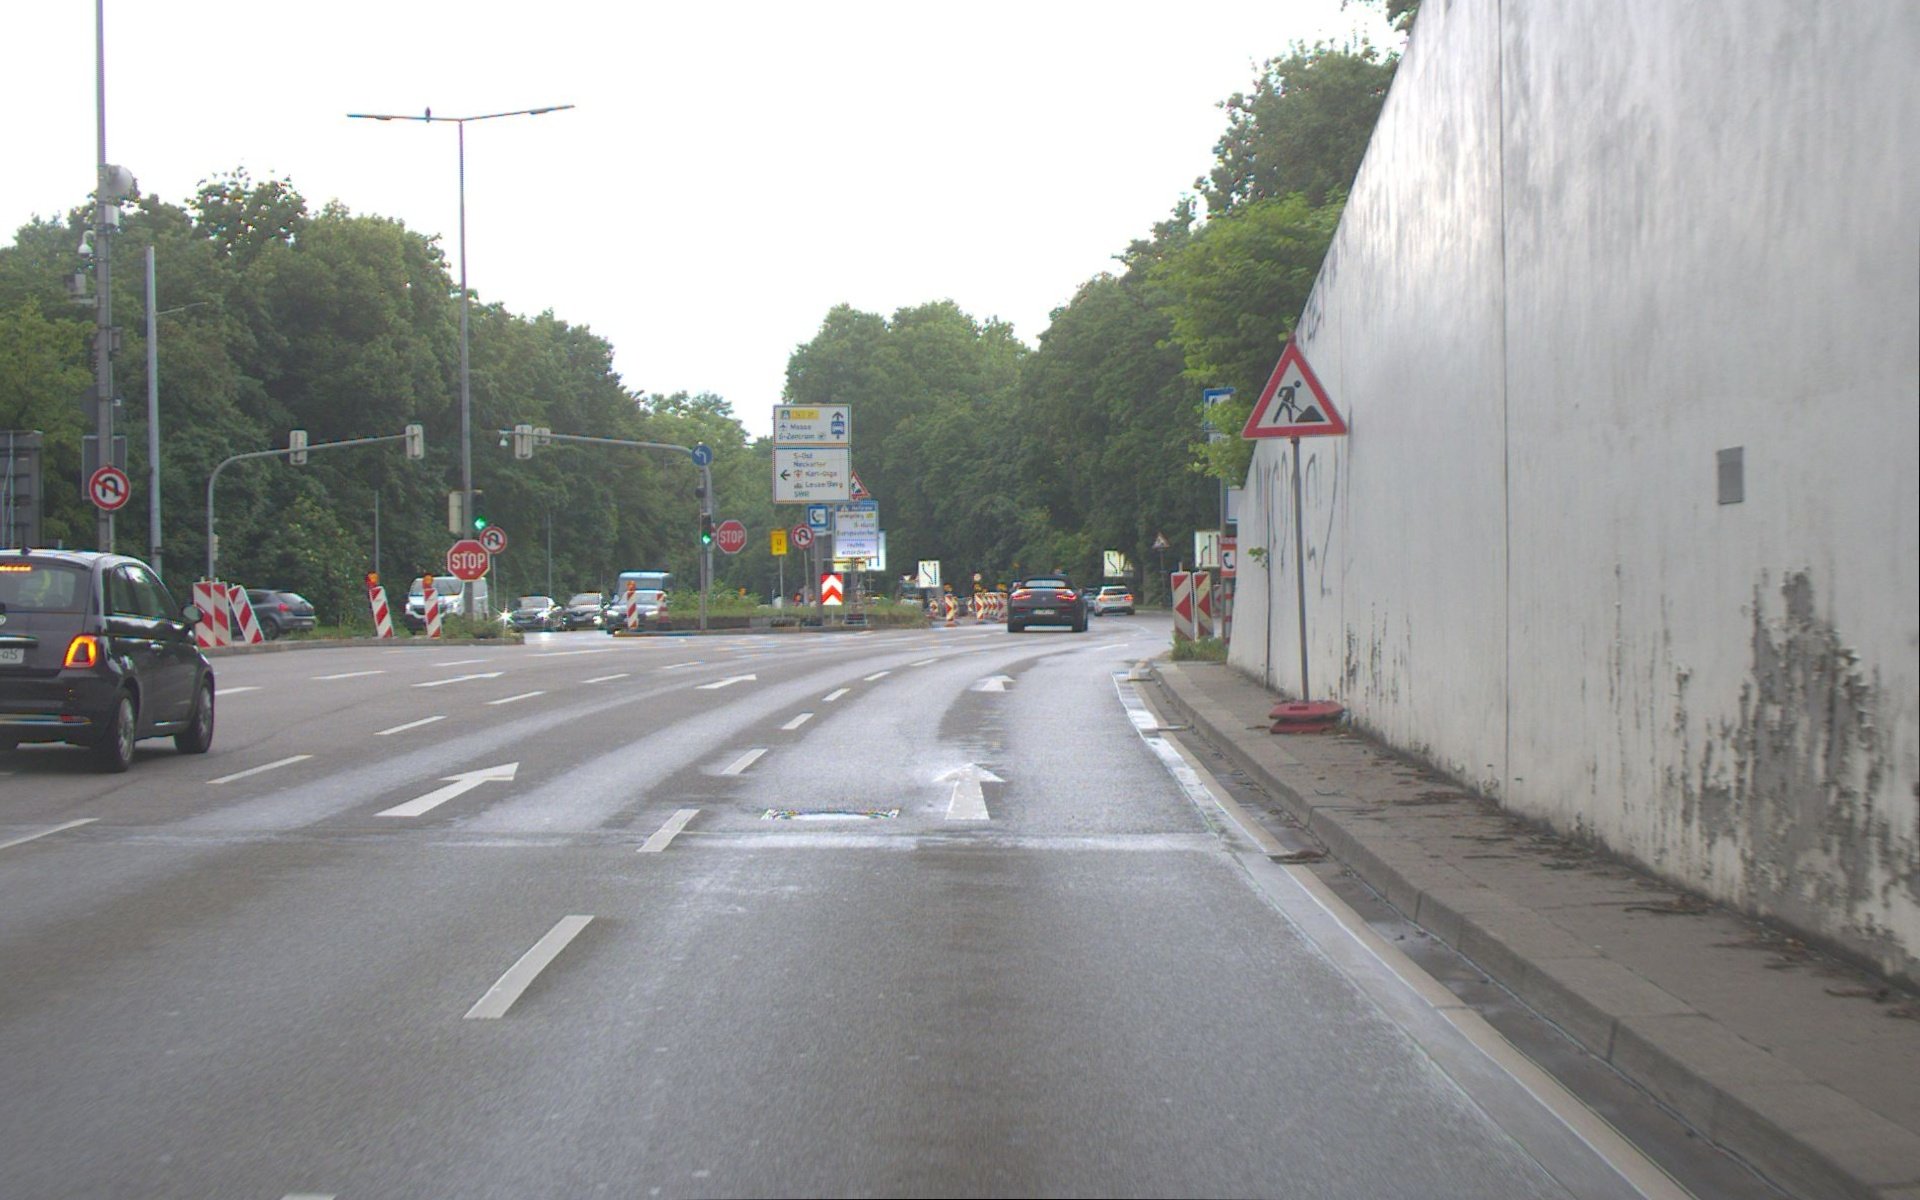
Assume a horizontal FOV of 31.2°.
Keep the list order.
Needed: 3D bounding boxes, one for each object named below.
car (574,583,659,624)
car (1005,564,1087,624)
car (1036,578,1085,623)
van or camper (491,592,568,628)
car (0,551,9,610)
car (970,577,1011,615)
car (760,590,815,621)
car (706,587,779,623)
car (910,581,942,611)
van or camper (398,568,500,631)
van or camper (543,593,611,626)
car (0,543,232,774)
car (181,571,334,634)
[{"bbox_3d":[-11.363,0.116,114.042,2.009,1.297,4.314,0,0,5],"label":"car"},{"bbox_3d":[2.120,-0.137,85.363,1.993,1.443,4.314,0,0,1],"label":"car"},{"bbox_3d":[4.581,0.024,157.377,1.993,2.007,4.000,0,0,-2],"label":"car"},{"bbox_3d":[-16.144,0.371,129.033,2.009,1.297,4.091,0,0,5],"label":"van or camper"},{"bbox_3d":[-29.417,-0.524,98.076,3.987,1.678,1.898,-1,2,0],"label":"car"},{"bbox_3d":[1.581,-0.215,181.501,1.993,2.007,4.000,0,0,-2],"label":"car"},{"bbox_3d":[-7.377,0.255,147.437,2.009,1.297,4.315,0,0,2],"label":"car"},{"bbox_3d":[-7.901,0.182,125.175,2.009,1.297,4.314,0,0,5],"label":"car"},{"bbox_3d":[-2.283,-0.278,229.071,1.993,2.007,4.000,0,0,-2],"label":"car"},{"bbox_3d":[-16.881,-0.009,113.914,2.129,2.007,5.313,0,0,5],"label":"van or camper"},{"bbox_3d":[-15.691,0.387,140.999,2.009,1.297,4.091,0,0,5],"label":"van or camper"},{"bbox_3d":[-6.305,0.351,24.103,1.612,1.449,3.573,1,1,0],"label":"car"},{"bbox_3d":[-19.609,0.047,95.898,3.994,1.678,1.894,1,1,33],"label":"car"}]
